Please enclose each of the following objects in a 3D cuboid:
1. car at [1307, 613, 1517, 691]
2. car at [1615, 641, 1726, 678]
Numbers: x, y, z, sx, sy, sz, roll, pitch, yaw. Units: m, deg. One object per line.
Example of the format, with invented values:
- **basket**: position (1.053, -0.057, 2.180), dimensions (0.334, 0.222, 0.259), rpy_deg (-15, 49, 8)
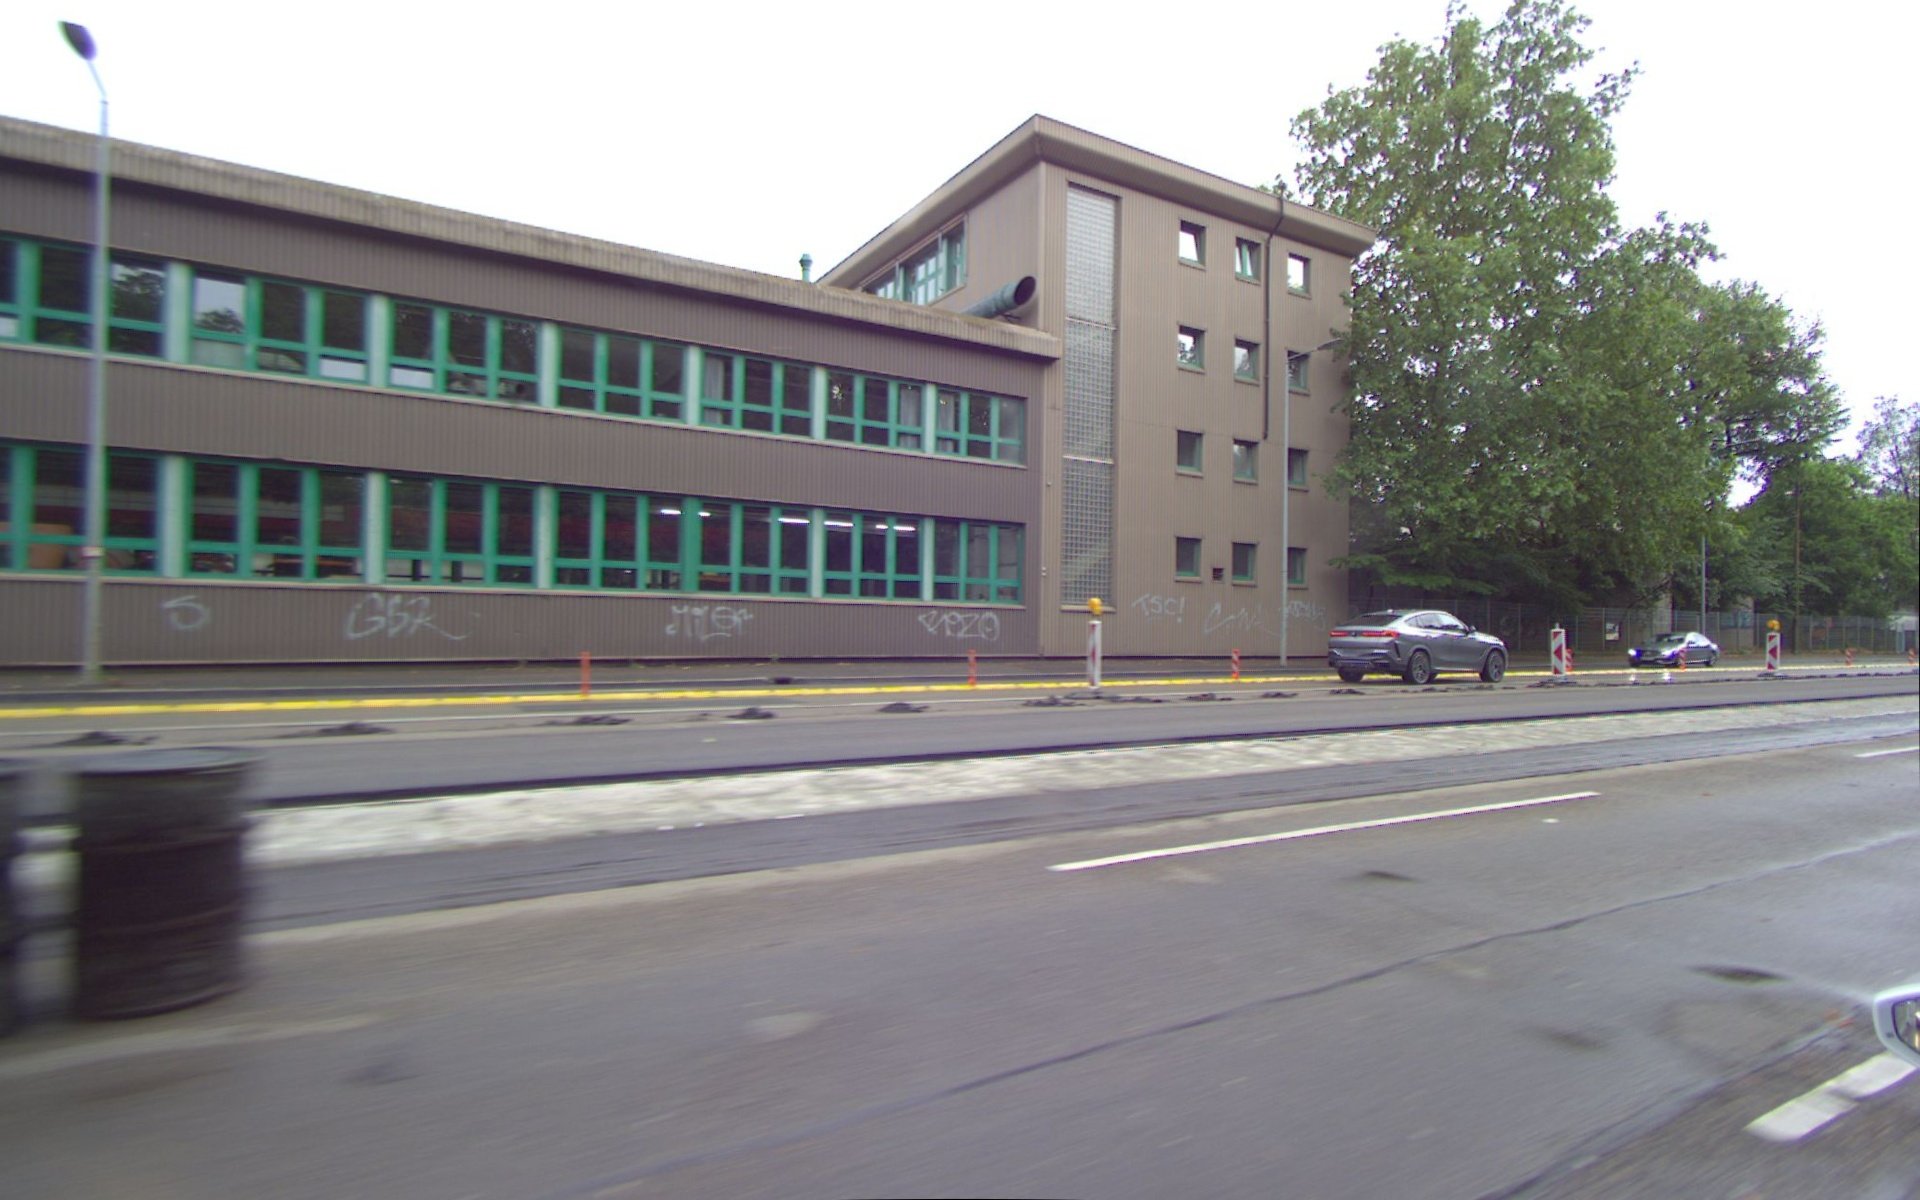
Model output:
- **car**: position (10.675, 1.178, 23.605), dimensions (5.000, 1.634, 2.065), rpy_deg (2, -1, -32)
- **car**: position (29.153, 2.434, 41.184), dimensions (4.736, 1.366, 1.983), rpy_deg (2, -1, -31)
